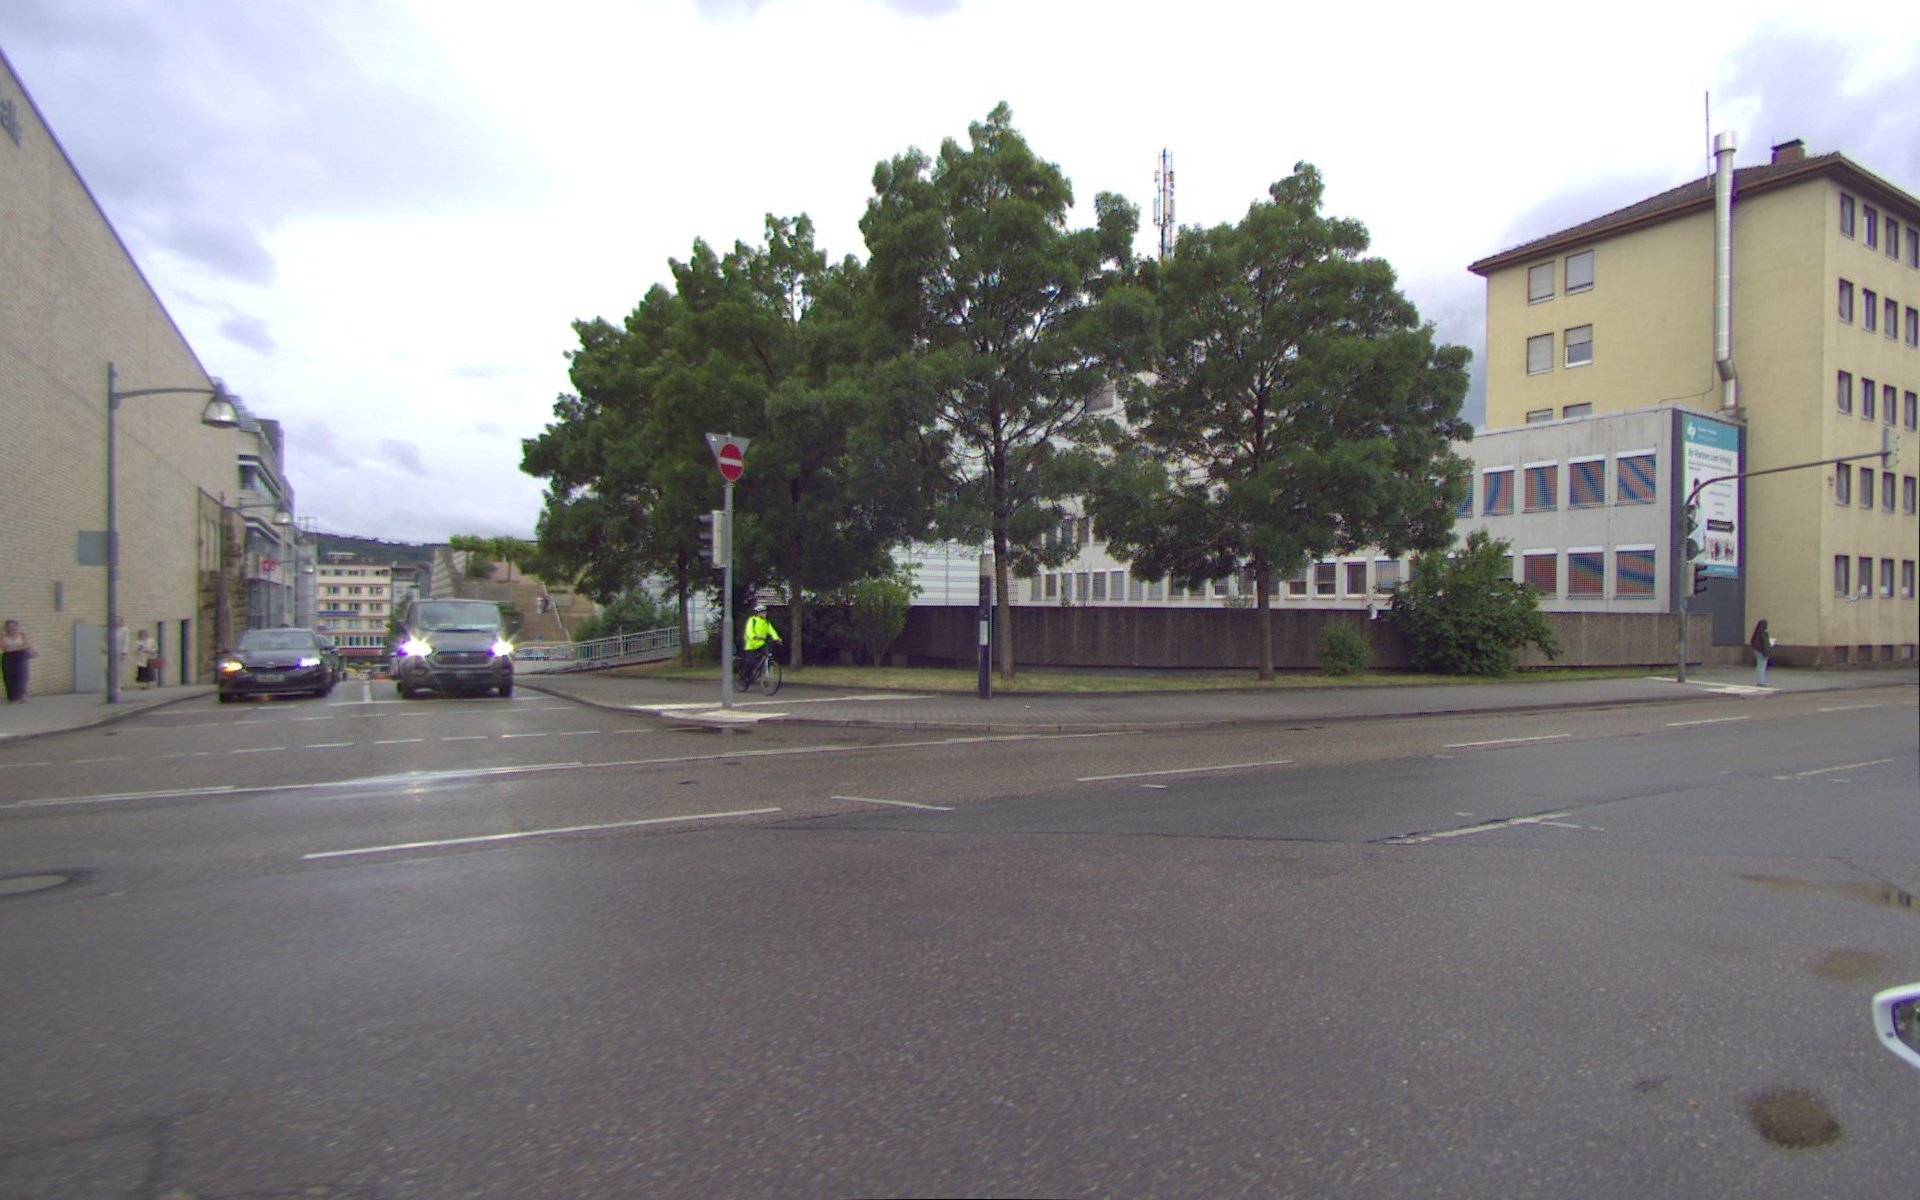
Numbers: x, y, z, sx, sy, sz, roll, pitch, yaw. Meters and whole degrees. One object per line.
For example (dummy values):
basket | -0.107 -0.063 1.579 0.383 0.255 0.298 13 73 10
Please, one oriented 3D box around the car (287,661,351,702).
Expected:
car | -25.045 3.151 39.173 1.980 1.476 3.963 1 -4 -34

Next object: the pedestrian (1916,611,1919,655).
pedestrian | 37.927 1.321 39.176 0.802 1.712 0.713 1 1 -30

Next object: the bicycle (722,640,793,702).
bicycle | -3.868 1.319 19.049 0.740 1.055 1.823 -2 0 -31

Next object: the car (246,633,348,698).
car | -16.721 1.653 25.335 1.980 1.476 3.963 1 -4 -34

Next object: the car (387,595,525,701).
car | -10.633 1.040 21.007 1.980 1.950 4.748 1 -4 -34

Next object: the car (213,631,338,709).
car | -14.272 1.449 20.911 1.981 1.460 3.961 1 -4 -36

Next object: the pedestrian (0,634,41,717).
pedestrian | -16.496 1.305 17.589 0.469 1.394 0.617 1 1 -31

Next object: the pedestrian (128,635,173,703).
pedestrian | -21.363 1.800 26.531 0.799 1.694 1.103 1 1 -34

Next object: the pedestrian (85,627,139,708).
pedestrian | -19.187 1.510 22.760 0.799 1.723 1.103 1 1 -34

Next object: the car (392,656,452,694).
car | -22.697 3.152 42.319 1.978 1.476 3.966 1 -4 -32

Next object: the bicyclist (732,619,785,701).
bicyclist | -3.804 1.113 18.917 0.739 1.489 0.810 1 -1 -32

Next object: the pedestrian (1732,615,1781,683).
pedestrian | 20.734 1.253 26.156 0.802 1.712 0.713 1 1 -30
